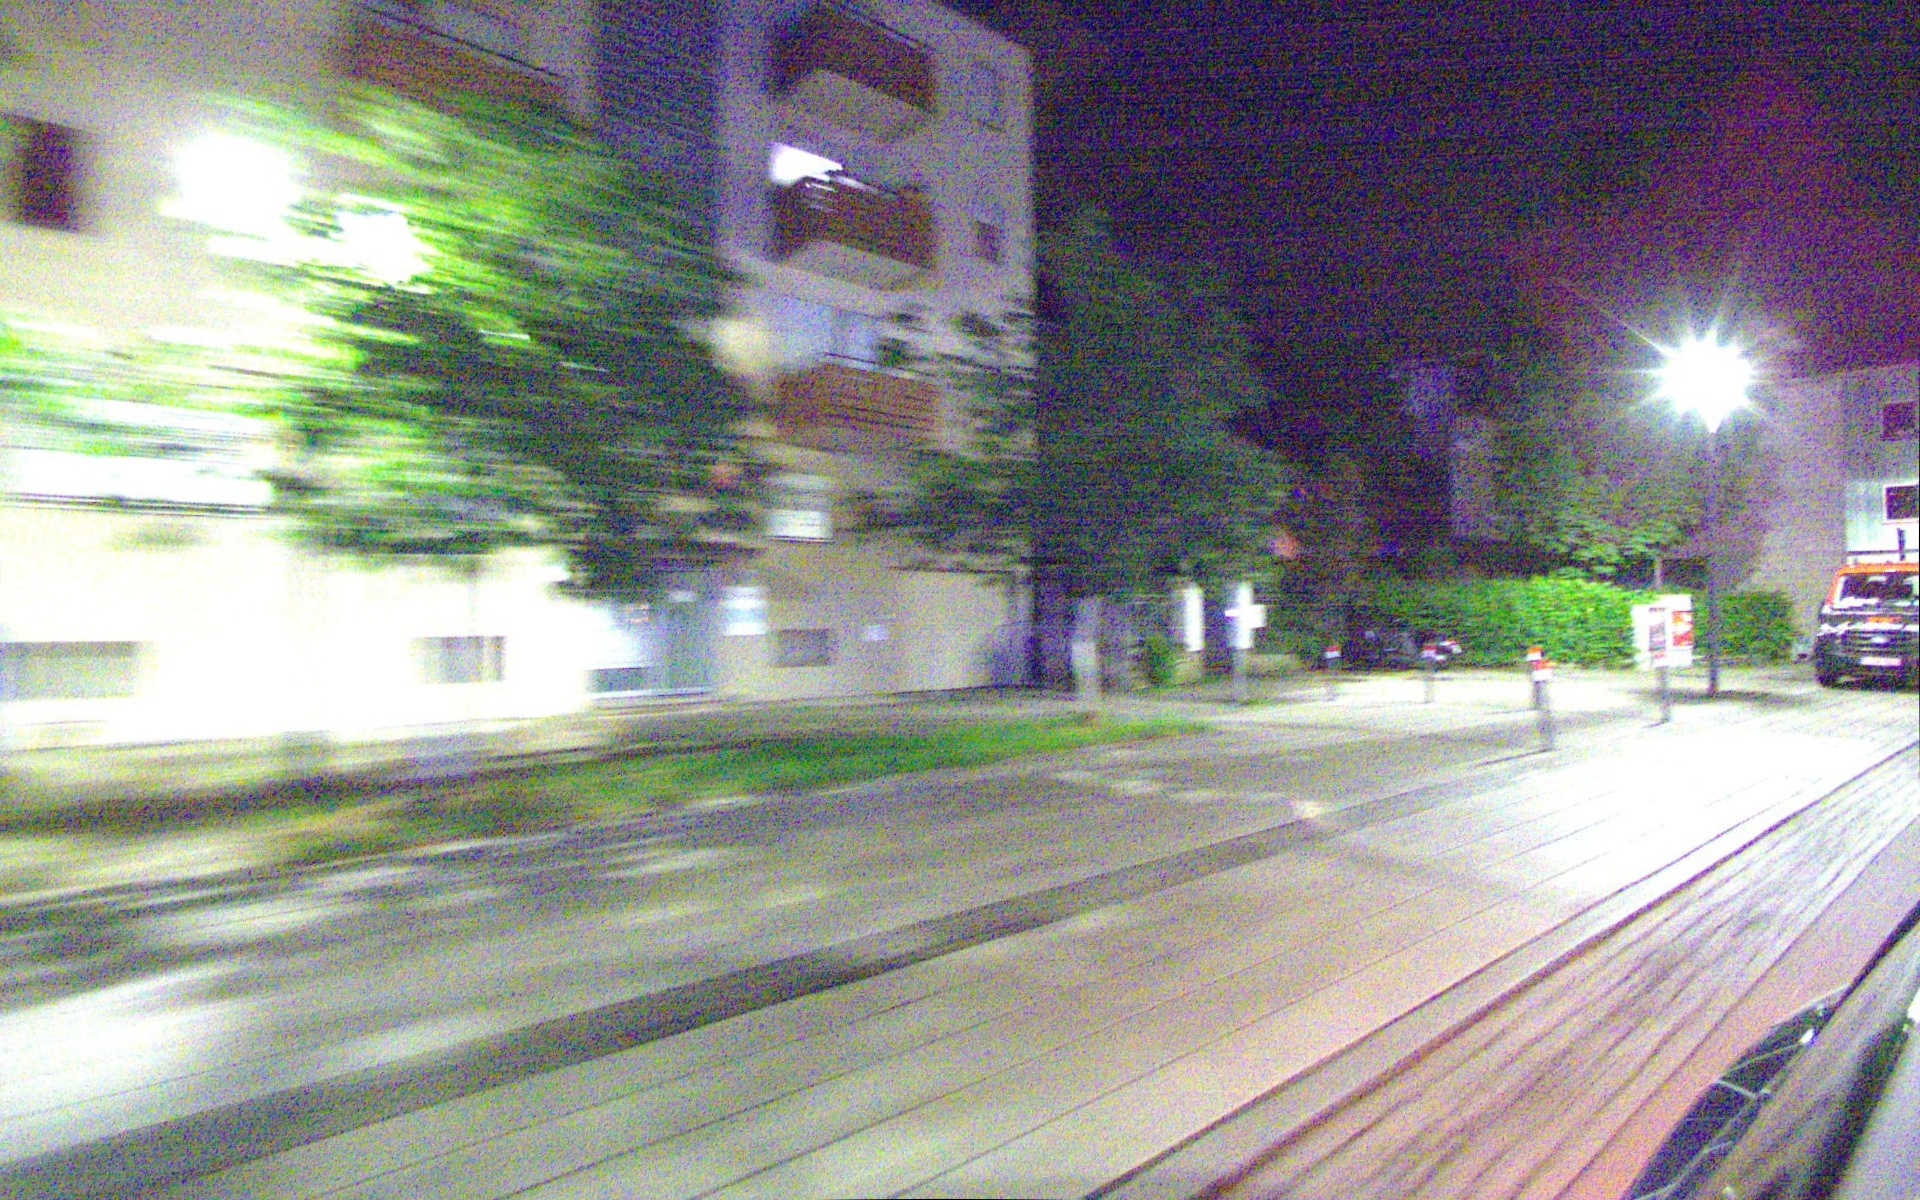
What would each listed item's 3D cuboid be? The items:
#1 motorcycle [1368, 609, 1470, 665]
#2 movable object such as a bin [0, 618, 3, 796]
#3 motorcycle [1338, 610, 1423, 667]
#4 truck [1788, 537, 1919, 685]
[{"bbox_3d":[10.270,0.820,22.699,0.551,1.201,2.019,0,-1,-41],"label":"motorcycle"},{"bbox_3d":[-7.921,0.872,7.511,1.098,1.437,1.263,-1,0,-40],"label":"movable object such as a bin"},{"bbox_3d":[9.264,0.836,22.344,0.551,1.201,1.632,0,-1,-41],"label":"motorcycle"},{"bbox_3d":[17.123,0.167,18.015,5.672,2.341,2.343,0,0,-36],"label":"truck"}]
